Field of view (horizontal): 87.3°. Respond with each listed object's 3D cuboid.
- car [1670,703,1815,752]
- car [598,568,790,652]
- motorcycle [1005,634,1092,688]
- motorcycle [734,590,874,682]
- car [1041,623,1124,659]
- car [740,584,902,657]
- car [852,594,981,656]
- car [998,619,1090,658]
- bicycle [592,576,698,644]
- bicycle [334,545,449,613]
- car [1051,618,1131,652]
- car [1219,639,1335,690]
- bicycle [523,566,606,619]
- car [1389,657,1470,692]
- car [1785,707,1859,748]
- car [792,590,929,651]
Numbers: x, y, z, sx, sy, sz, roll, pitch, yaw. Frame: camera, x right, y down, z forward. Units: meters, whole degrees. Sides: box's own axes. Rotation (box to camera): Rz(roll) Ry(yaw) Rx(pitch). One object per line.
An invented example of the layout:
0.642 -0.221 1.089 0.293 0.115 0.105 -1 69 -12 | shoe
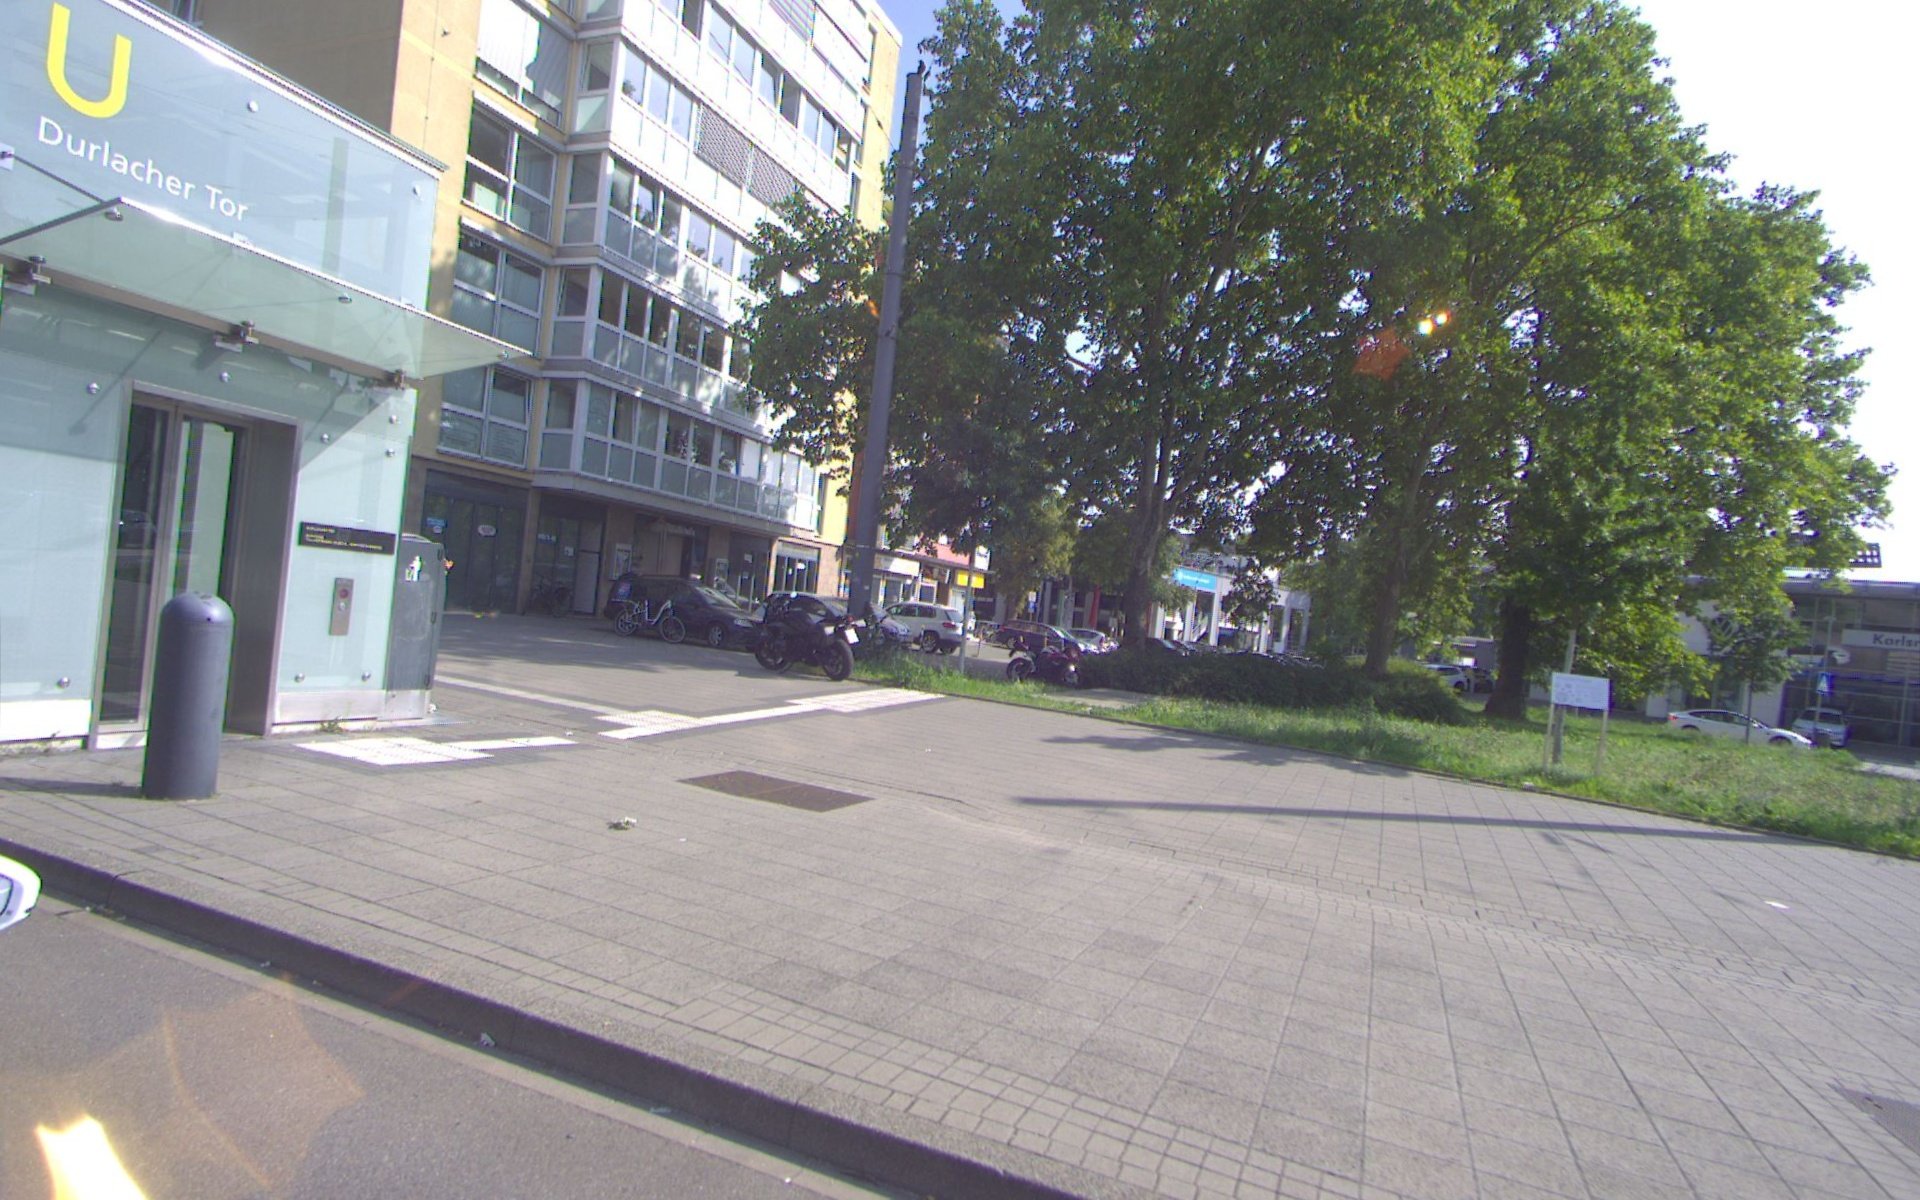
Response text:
31.293 5.068 40.297 4.341 1.180 1.989 6 0 44 | car
-6.223 0.234 23.531 4.119 1.459 1.661 7 0 25 | car
2.095 1.445 23.974 1.928 1.014 0.702 6 0 40 | motorcycle
-2.444 0.535 15.533 2.268 1.161 0.702 6 1 40 | motorcycle
6.517 2.182 53.563 3.927 1.393 1.741 6 0 23 | car
-3.893 0.576 28.183 3.928 1.526 1.998 7 0 25 | car
-1.527 0.881 35.302 3.928 1.665 1.998 7 0 25 | car
4.111 1.877 49.047 3.927 1.393 1.999 6 0 23 | car
-6.943 0.218 22.132 2.258 1.250 0.524 7 1 19 | bicycle
-11.841 -0.412 21.037 0.658 1.221 2.022 7 0 23 | bicycle
7.198 1.912 55.345 3.927 1.393 1.741 6 0 23 | car
12.026 2.408 38.127 3.927 1.393 1.999 6 0 23 | car
-10.171 -0.160 25.941 0.658 1.198 2.022 7 0 23 | bicycle
27.276 4.347 58.472 4.008 1.480 1.989 7 0 -23 | car
39.733 5.877 46.345 4.294 1.480 1.976 7 0 -42 | car
-3.298 0.675 33.444 3.928 1.526 1.998 7 0 25 | car
